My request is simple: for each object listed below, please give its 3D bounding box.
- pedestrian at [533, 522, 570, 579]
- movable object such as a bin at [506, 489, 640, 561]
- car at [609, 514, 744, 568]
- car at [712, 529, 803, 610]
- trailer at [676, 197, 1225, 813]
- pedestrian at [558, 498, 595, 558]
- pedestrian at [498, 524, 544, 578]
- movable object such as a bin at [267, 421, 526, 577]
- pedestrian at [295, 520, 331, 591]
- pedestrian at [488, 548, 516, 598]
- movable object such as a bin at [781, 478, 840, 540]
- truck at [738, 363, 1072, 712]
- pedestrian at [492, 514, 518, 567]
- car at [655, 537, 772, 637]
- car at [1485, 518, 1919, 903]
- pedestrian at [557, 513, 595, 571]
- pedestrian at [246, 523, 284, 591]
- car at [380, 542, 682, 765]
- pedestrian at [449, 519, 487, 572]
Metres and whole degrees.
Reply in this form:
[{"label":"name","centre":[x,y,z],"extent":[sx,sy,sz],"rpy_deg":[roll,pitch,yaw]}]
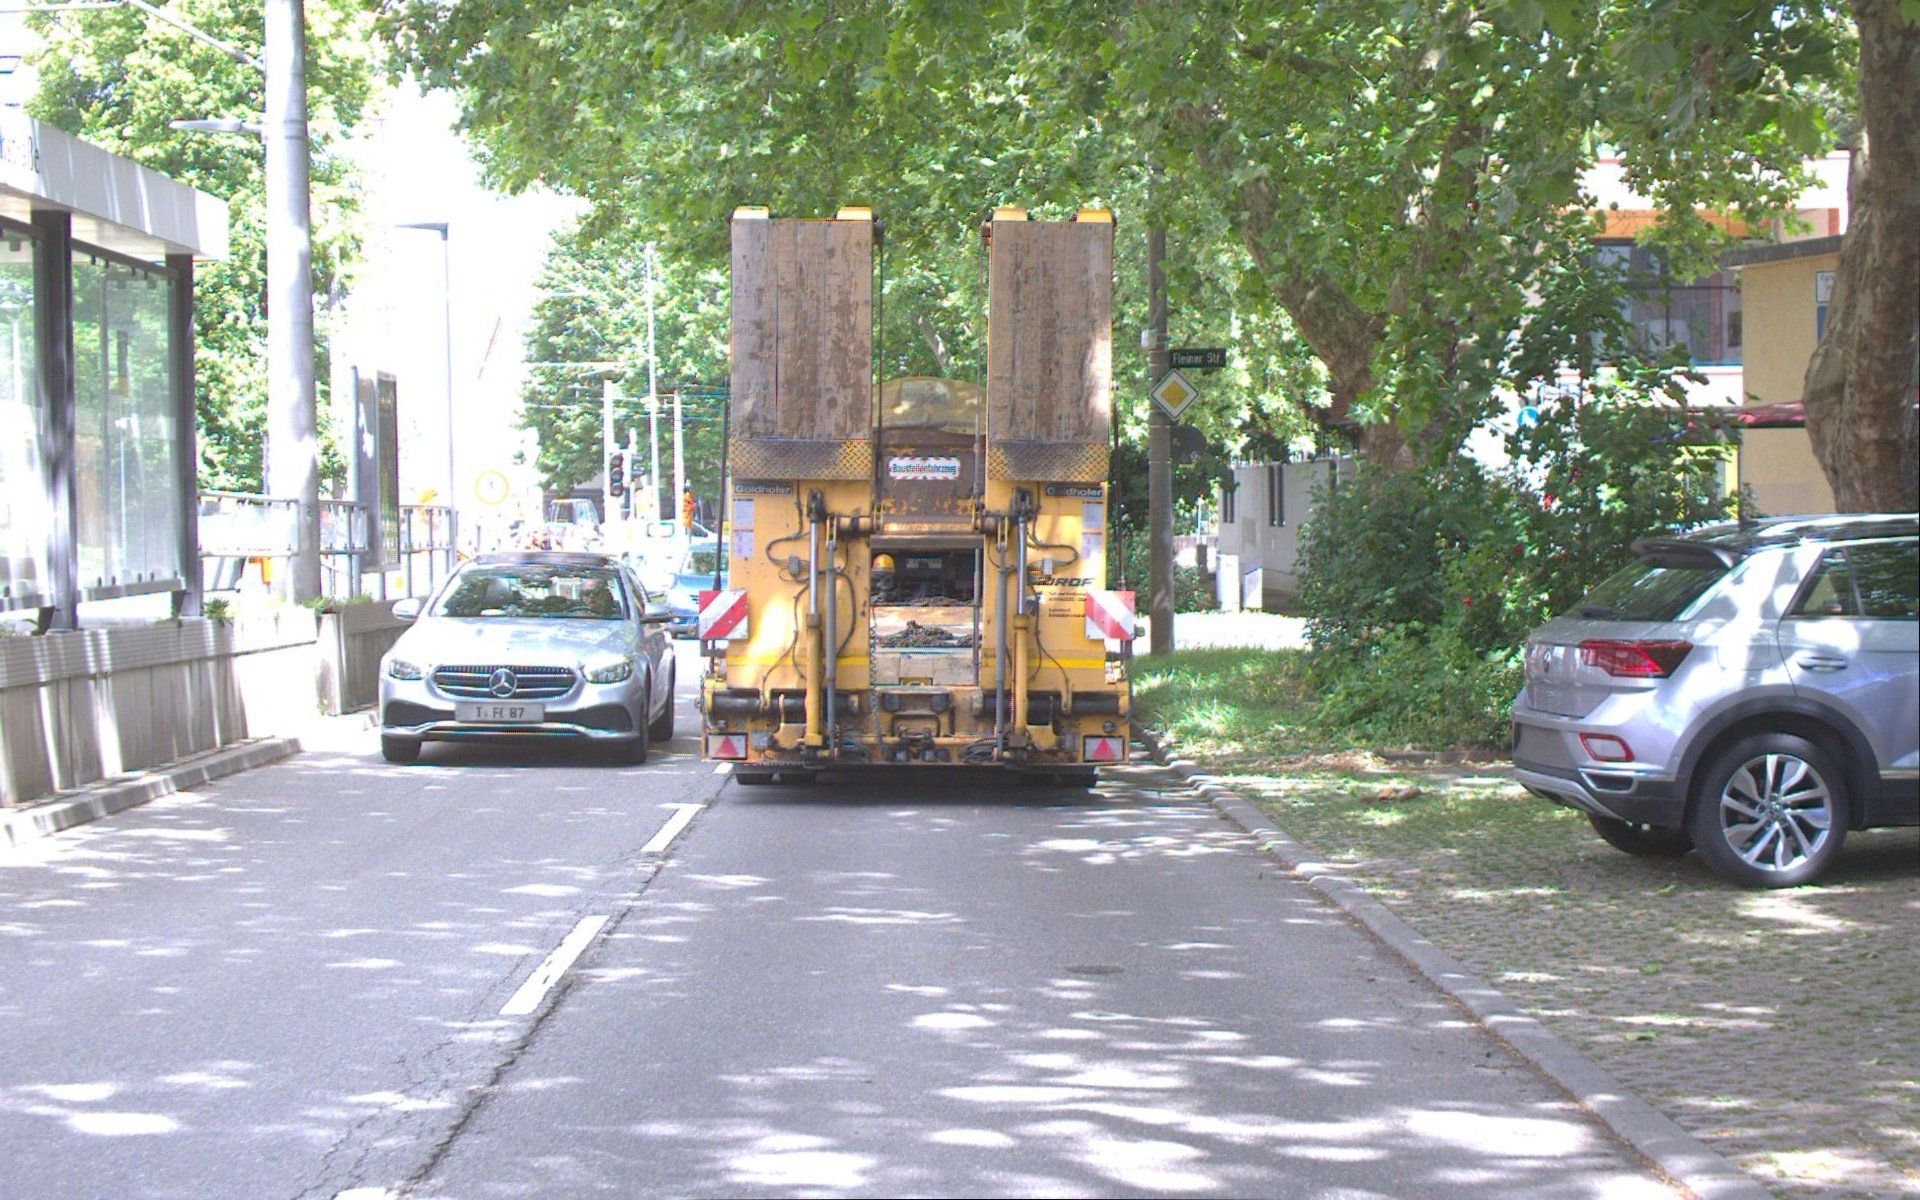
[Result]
[{"label":"pedestrian","centre":[-12.675,-1.538,106.703],"extent":[0.886,1.754,0.836],"rpy_deg":[1,1,18]},{"label":"movable object such as a bin","centre":[-14.217,-2.758,126.322],"extent":[4.373,2.620,2.217],"rpy_deg":[1,1,26]},{"label":"car","centre":[-11.405,-2.379,138.275],"extent":[5.088,2.095,1.977],"rpy_deg":[-1,2,-15]},{"label":"car","centre":[-4.256,-0.650,72.610],"extent":[1.753,1.627,4.119],"rpy_deg":[1,1,-1]},{"label":"trailer","centre":[-0.286,-0.641,25.458],"extent":[3.154,3.540,11.098],"rpy_deg":[0,1,-2]},{"label":"pedestrian","centre":[-12.065,-2.267,108.151],"extent":[0.885,1.861,0.837],"rpy_deg":[0,1,-29]},{"label":"pedestrian","centre":[-13.841,-1.546,108.346],"extent":[1.108,1.709,0.888],"rpy_deg":[-1,1,-45]},{"label":"movable object such as a bin","centre":[-19.993,-3.557,121.697],"extent":[9.215,5.396,2.660],"rpy_deg":[1,1,26]},{"label":"pedestrian","centre":[-15.702,-1.084,83.427],"extent":[0.699,1.712,0.867],"rpy_deg":[1,1,-1]},{"label":"pedestrian","centre":[-15.236,-0.896,114.326],"extent":[0.885,1.639,0.837],"rpy_deg":[0,1,-8]},{"label":"movable object such as a bin","centre":[-4.923,-2.983,113.341],"extent":[1.399,2.007,2.555],"rpy_deg":[1,1,10]},{"label":"truck","centre":[-0.660,-0.629,34.939],"extent":[2.989,3.124,7.889],"rpy_deg":[0,1,-2]},{"label":"pedestrian","centre":[-16.201,-2.124,122.381],"extent":[0.834,1.861,0.888],"rpy_deg":[0,1,-12]},{"label":"car","centre":[-3.944,-0.225,55.434],"extent":[1.696,1.559,3.861],"rpy_deg":[0,0,-1]},{"label":"car","centre":[4.451,0.411,15.326],"extent":[3.828,1.557,1.620],"rpy_deg":[-2,1,-7]},{"label":"pedestrian","centre":[-12.348,-1.861,110.481],"extent":[0.887,1.861,0.836],"rpy_deg":[1,1,28]},{"label":"pedestrian","centre":[-16.797,-1.042,83.121],"extent":[0.732,1.620,0.867],"rpy_deg":[0,1,-1]},{"label":"car","centre":[-3.091,0.326,25.591],"extent":[1.762,1.476,4.577],"rpy_deg":[1,1,-2]},{"label":"pedestrian","centre":[-15.376,-1.698,107.538],"extent":[0.885,1.639,0.900],"rpy_deg":[0,1,-31]}]
